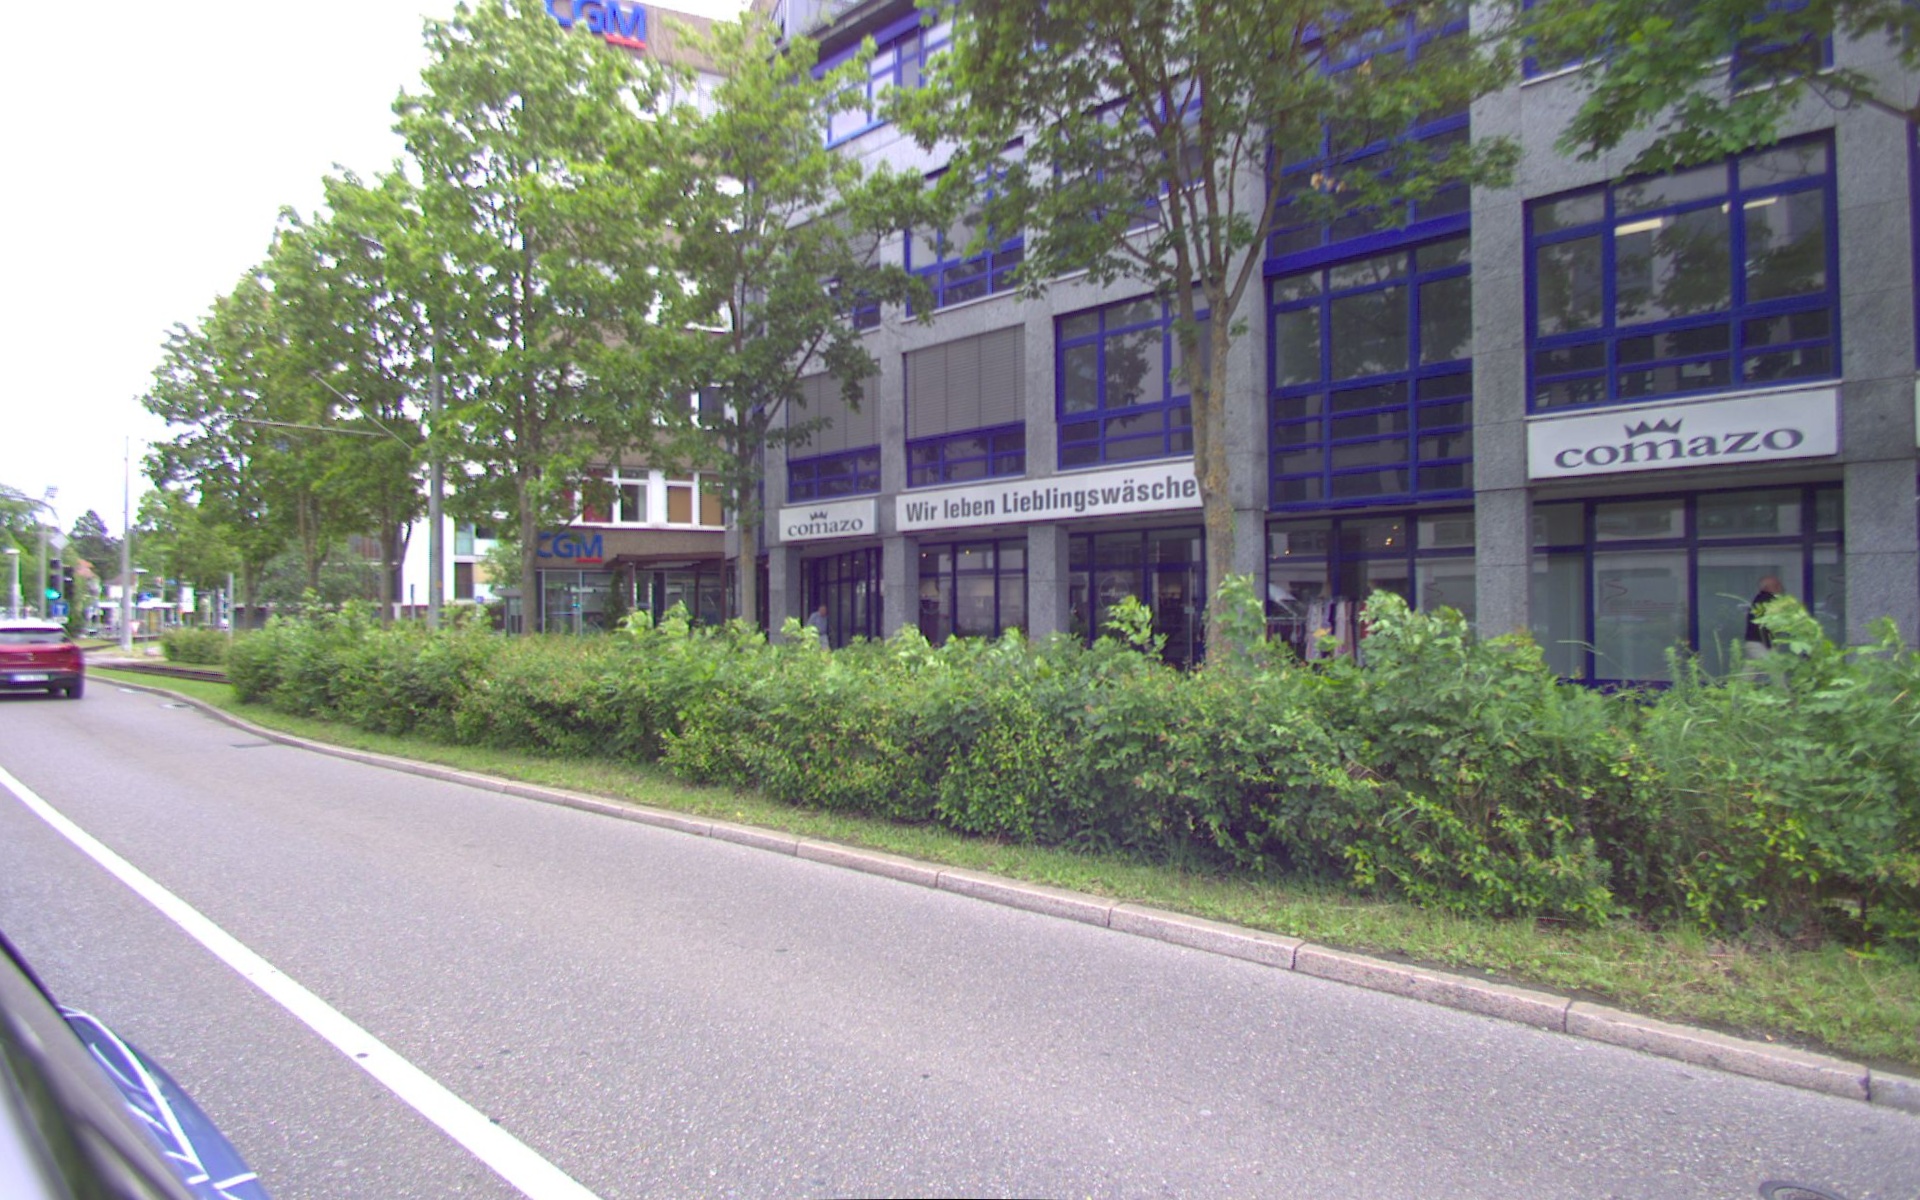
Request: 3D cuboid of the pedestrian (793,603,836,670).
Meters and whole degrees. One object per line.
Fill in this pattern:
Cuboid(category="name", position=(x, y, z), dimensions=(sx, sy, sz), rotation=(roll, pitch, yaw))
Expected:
Cuboid(category="pedestrian", position=(-3.367, 0.836, 23.449), dimensions=(0.677, 1.493, 0.691), rotation=(-2, 0, 34))

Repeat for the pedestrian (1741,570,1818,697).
Cuboid(category="pedestrian", position=(10.048, 0.396, 12.404), dimensions=(0.679, 1.493, 0.690), rotation=(-2, 0, 41))

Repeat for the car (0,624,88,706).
Cuboid(category="car", position=(-19.976, 1.325, 21.399), dimensions=(4.133, 1.601, 1.732), rotation=(-2, -3, 41))

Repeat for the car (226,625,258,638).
Cuboid(category="car", position=(-111.744, 4.882, 157.556), dimensions=(1.975, 1.913, 3.993), rotation=(-1, 0, 6))
